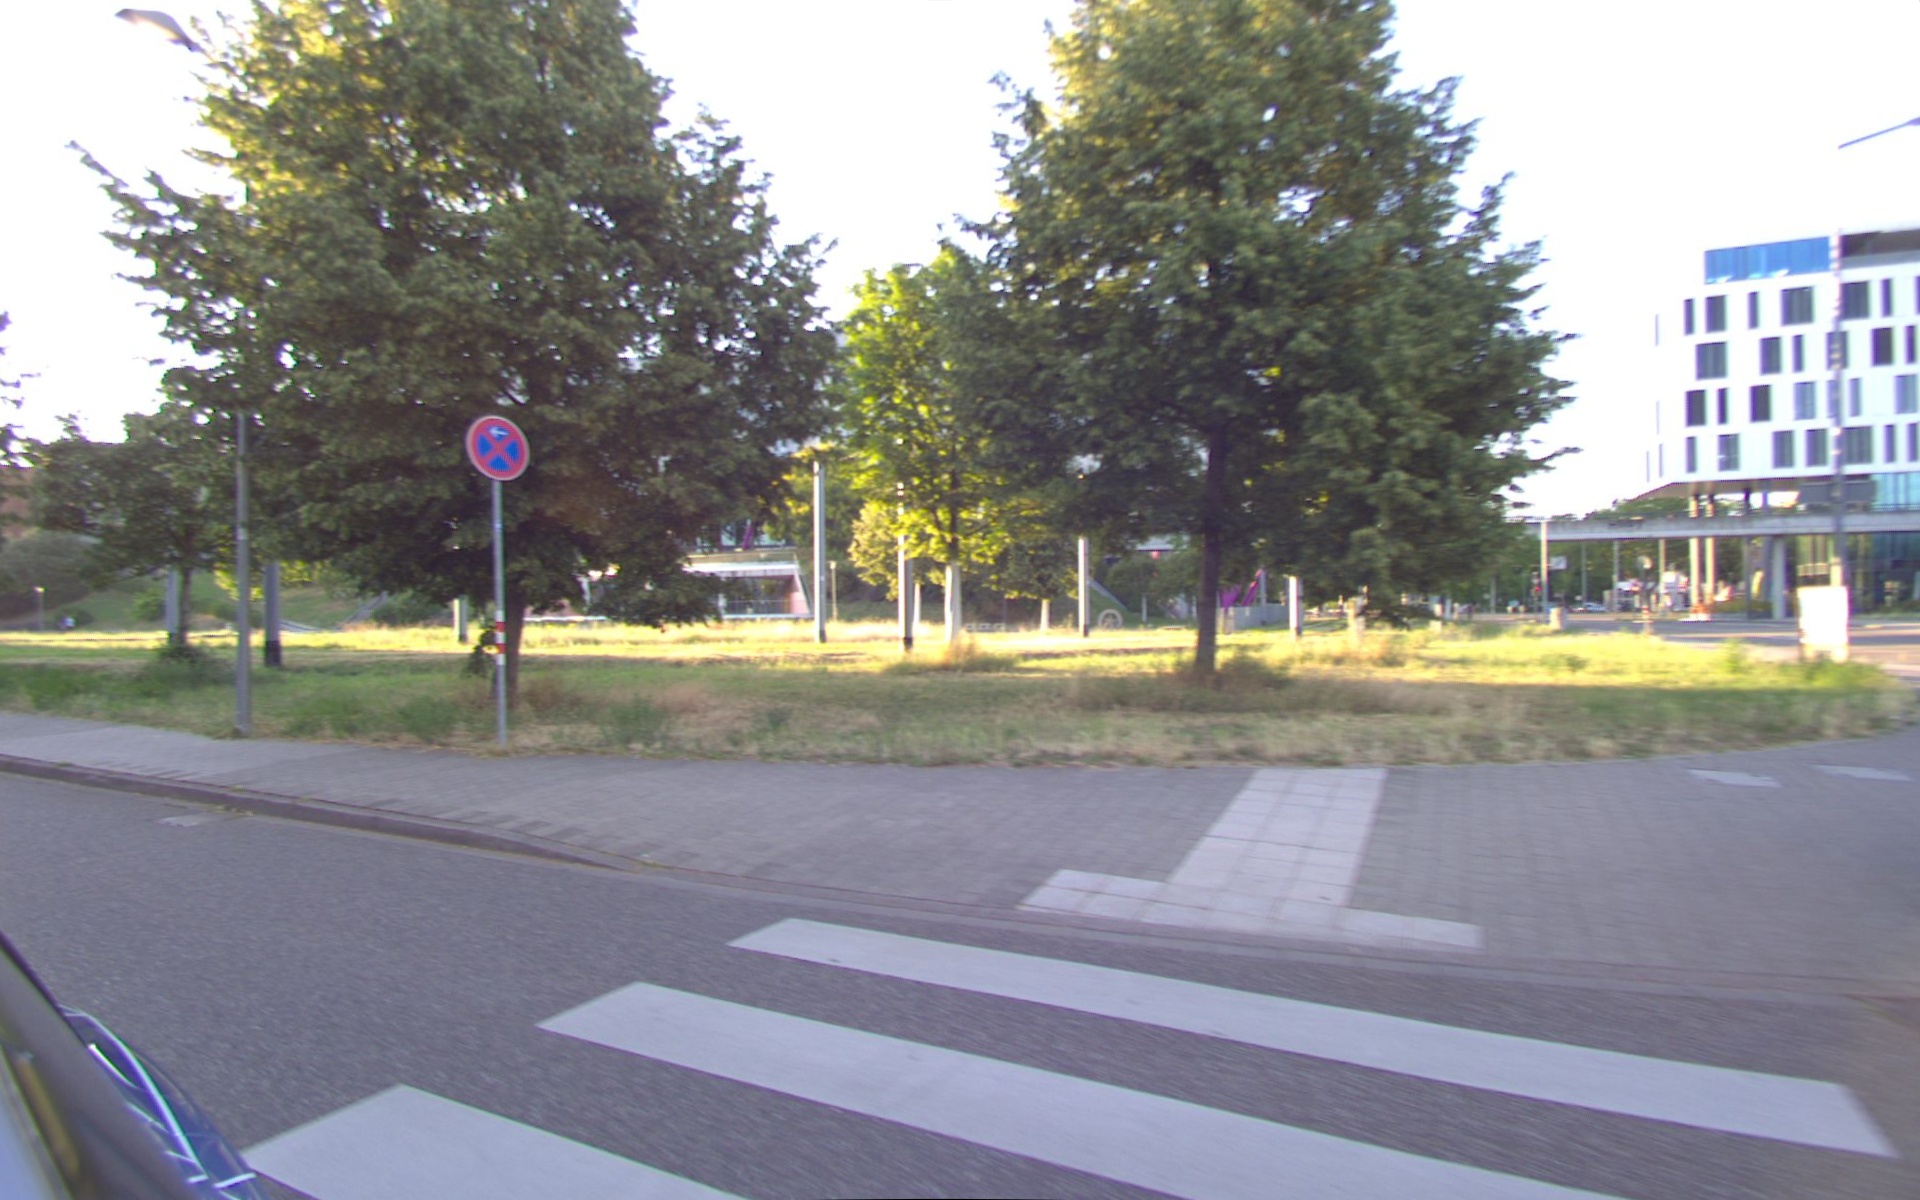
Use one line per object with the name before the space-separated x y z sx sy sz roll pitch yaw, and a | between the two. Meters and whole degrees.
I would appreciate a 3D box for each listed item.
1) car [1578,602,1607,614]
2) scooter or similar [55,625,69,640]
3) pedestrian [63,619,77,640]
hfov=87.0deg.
car | 111.484 1.470 178.328 3.998 2.028 1.973 -1 1 41
scooter or similar | -80.499 2.932 90.719 0.786 1.253 0.612 -1 1 27
pedestrian | -79.557 2.669 90.486 0.786 1.850 0.612 -1 1 27
